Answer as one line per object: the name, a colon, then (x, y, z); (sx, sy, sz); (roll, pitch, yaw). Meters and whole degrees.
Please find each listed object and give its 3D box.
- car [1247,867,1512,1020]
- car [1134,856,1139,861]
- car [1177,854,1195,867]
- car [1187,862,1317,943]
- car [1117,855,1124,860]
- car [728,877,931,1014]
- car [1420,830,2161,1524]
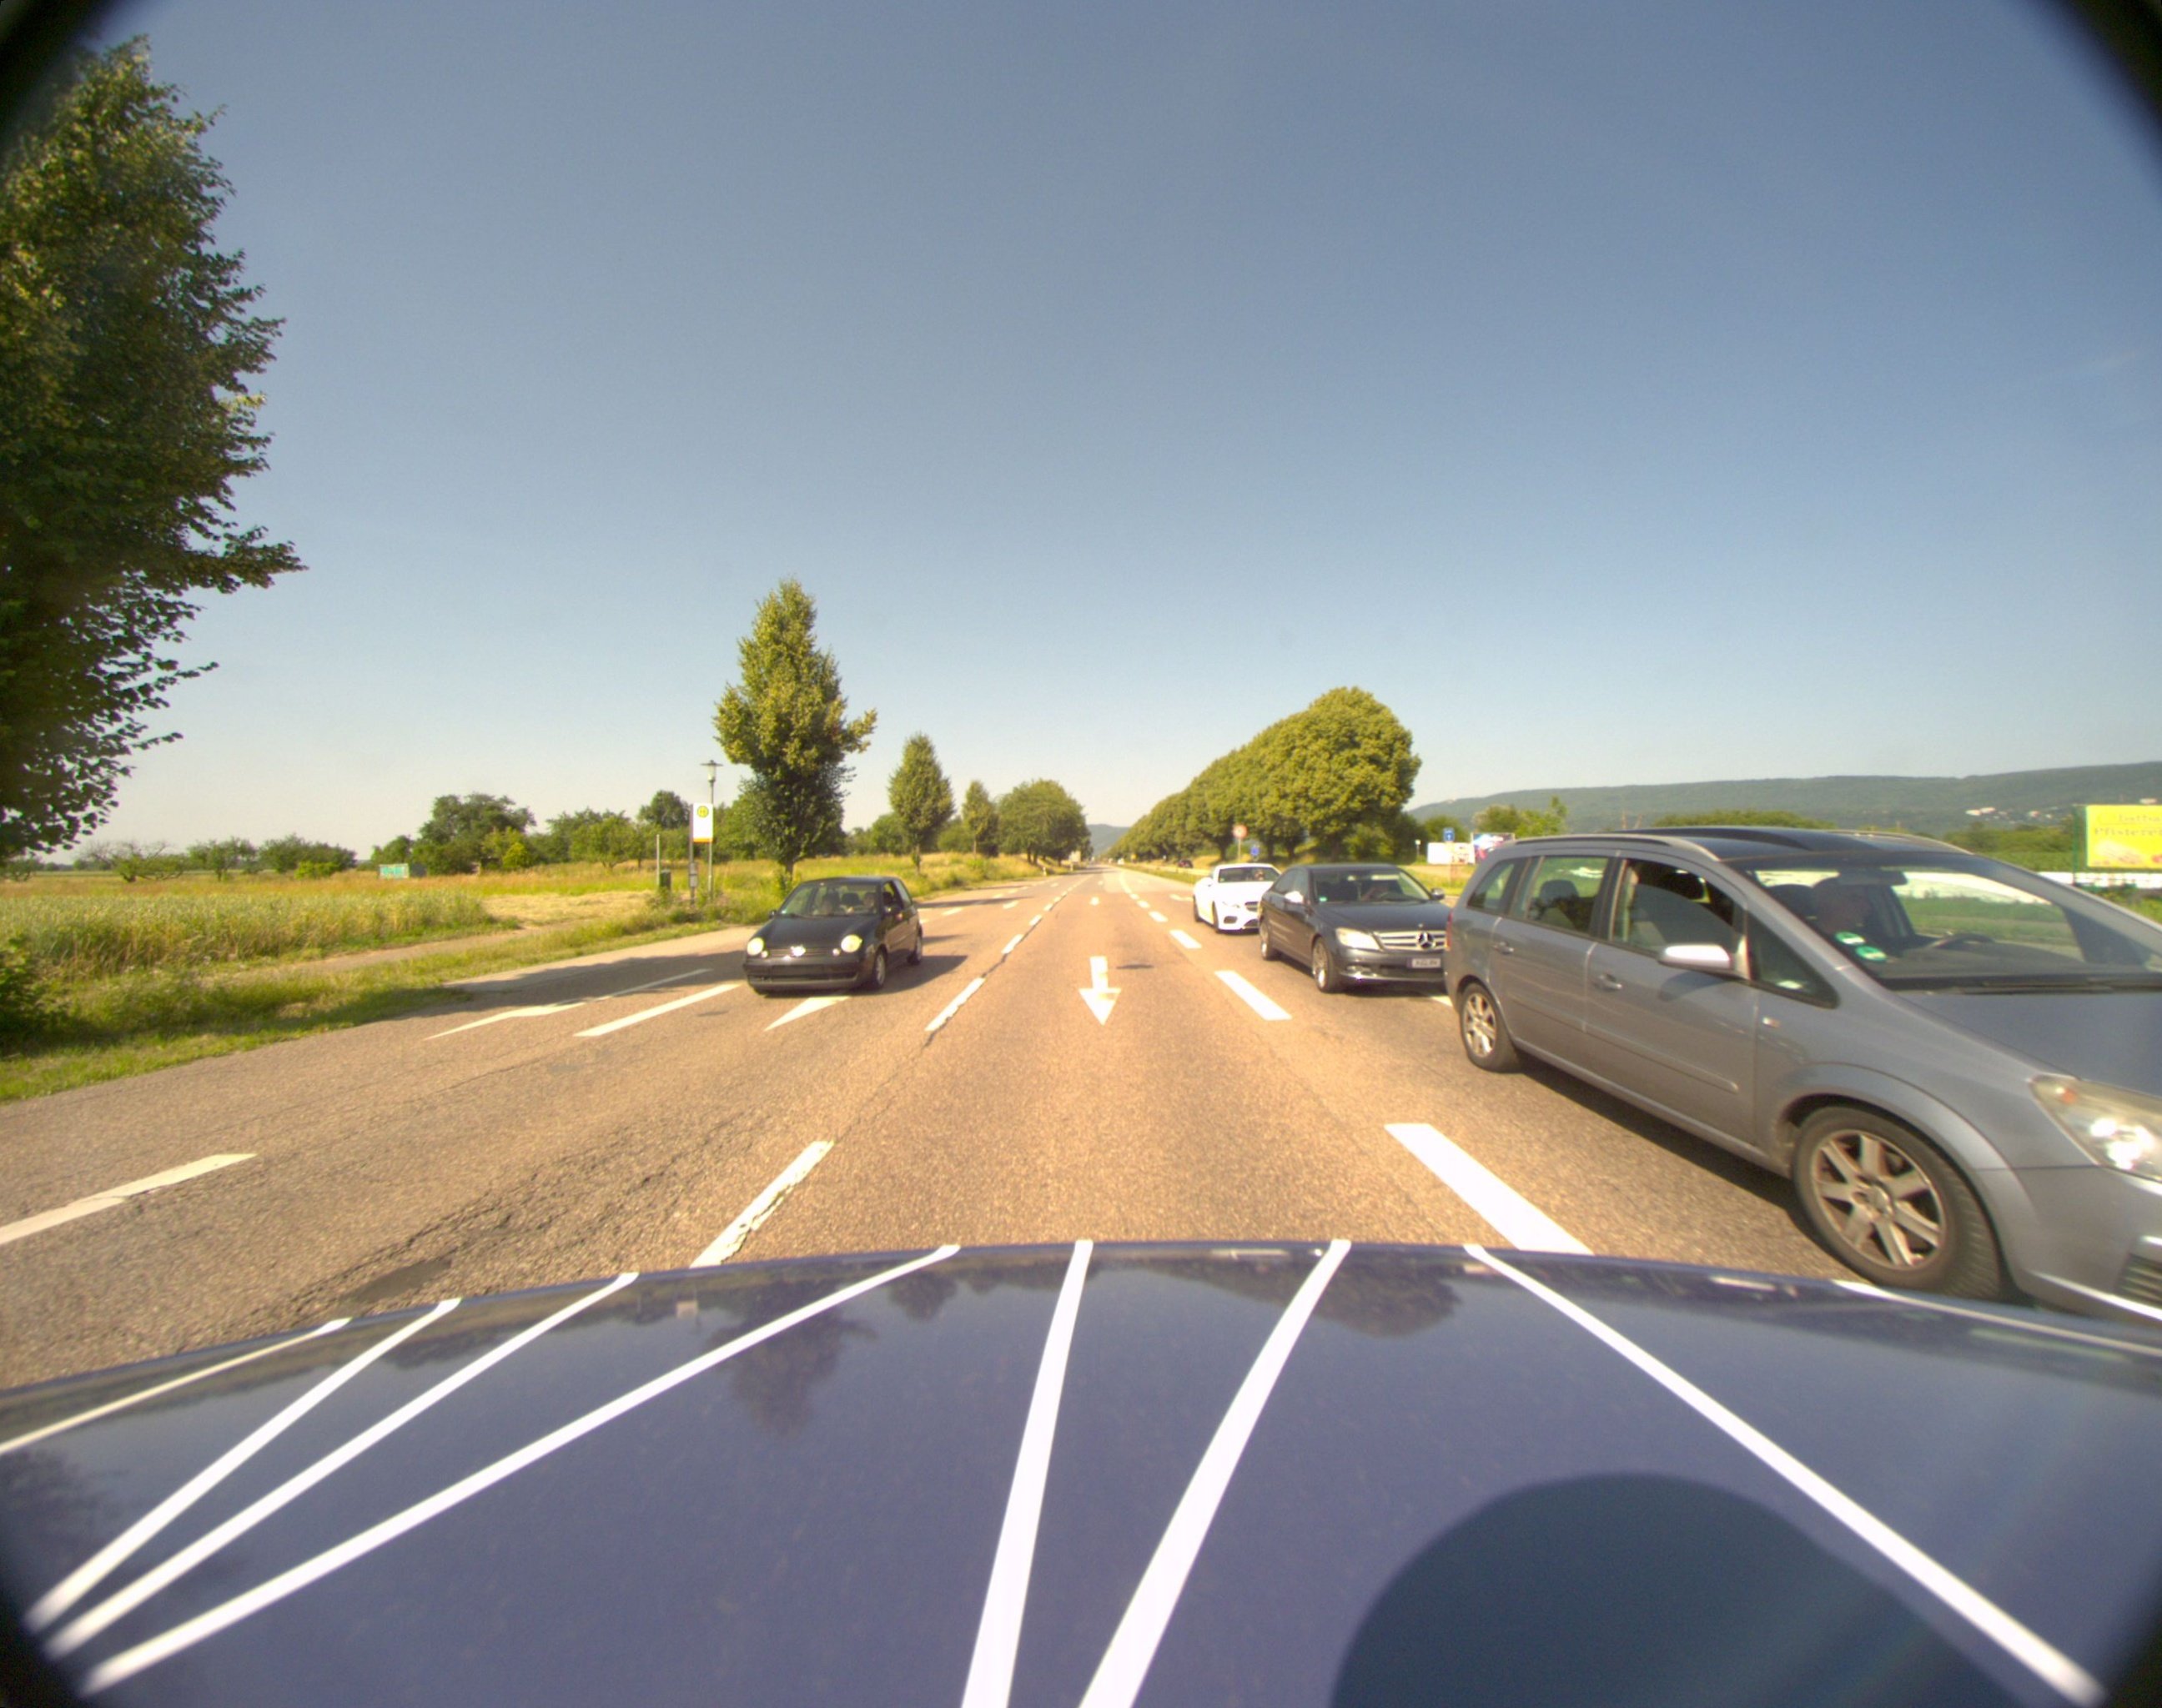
car: (3.425, 0.924, 9.692); (1.718, 1.402, 4.355); (-2, 0, 1)
car: (17.983, 1.435, 246.317); (1.726, 1.456, 3.700); (1, 0, 2)
car: (15.417, 0.970, 111.430); (1.998, 1.830, 4.954); (1, 0, 1)
car: (3.544, 0.934, 16.615); (1.808, 1.417, 4.641); (-2, 0, 1)
car: (13.021, 1.199, 251.159); (1.998, 1.791, 4.001); (-1, 0, 2)
car: (-3.272, 1.120, 10.622); (1.629, 1.425, 3.622); (-2, 0, -1)
car: (3.496, 0.768, 3.742); (1.745, 1.662, 4.357); (-2, 0, 1)
